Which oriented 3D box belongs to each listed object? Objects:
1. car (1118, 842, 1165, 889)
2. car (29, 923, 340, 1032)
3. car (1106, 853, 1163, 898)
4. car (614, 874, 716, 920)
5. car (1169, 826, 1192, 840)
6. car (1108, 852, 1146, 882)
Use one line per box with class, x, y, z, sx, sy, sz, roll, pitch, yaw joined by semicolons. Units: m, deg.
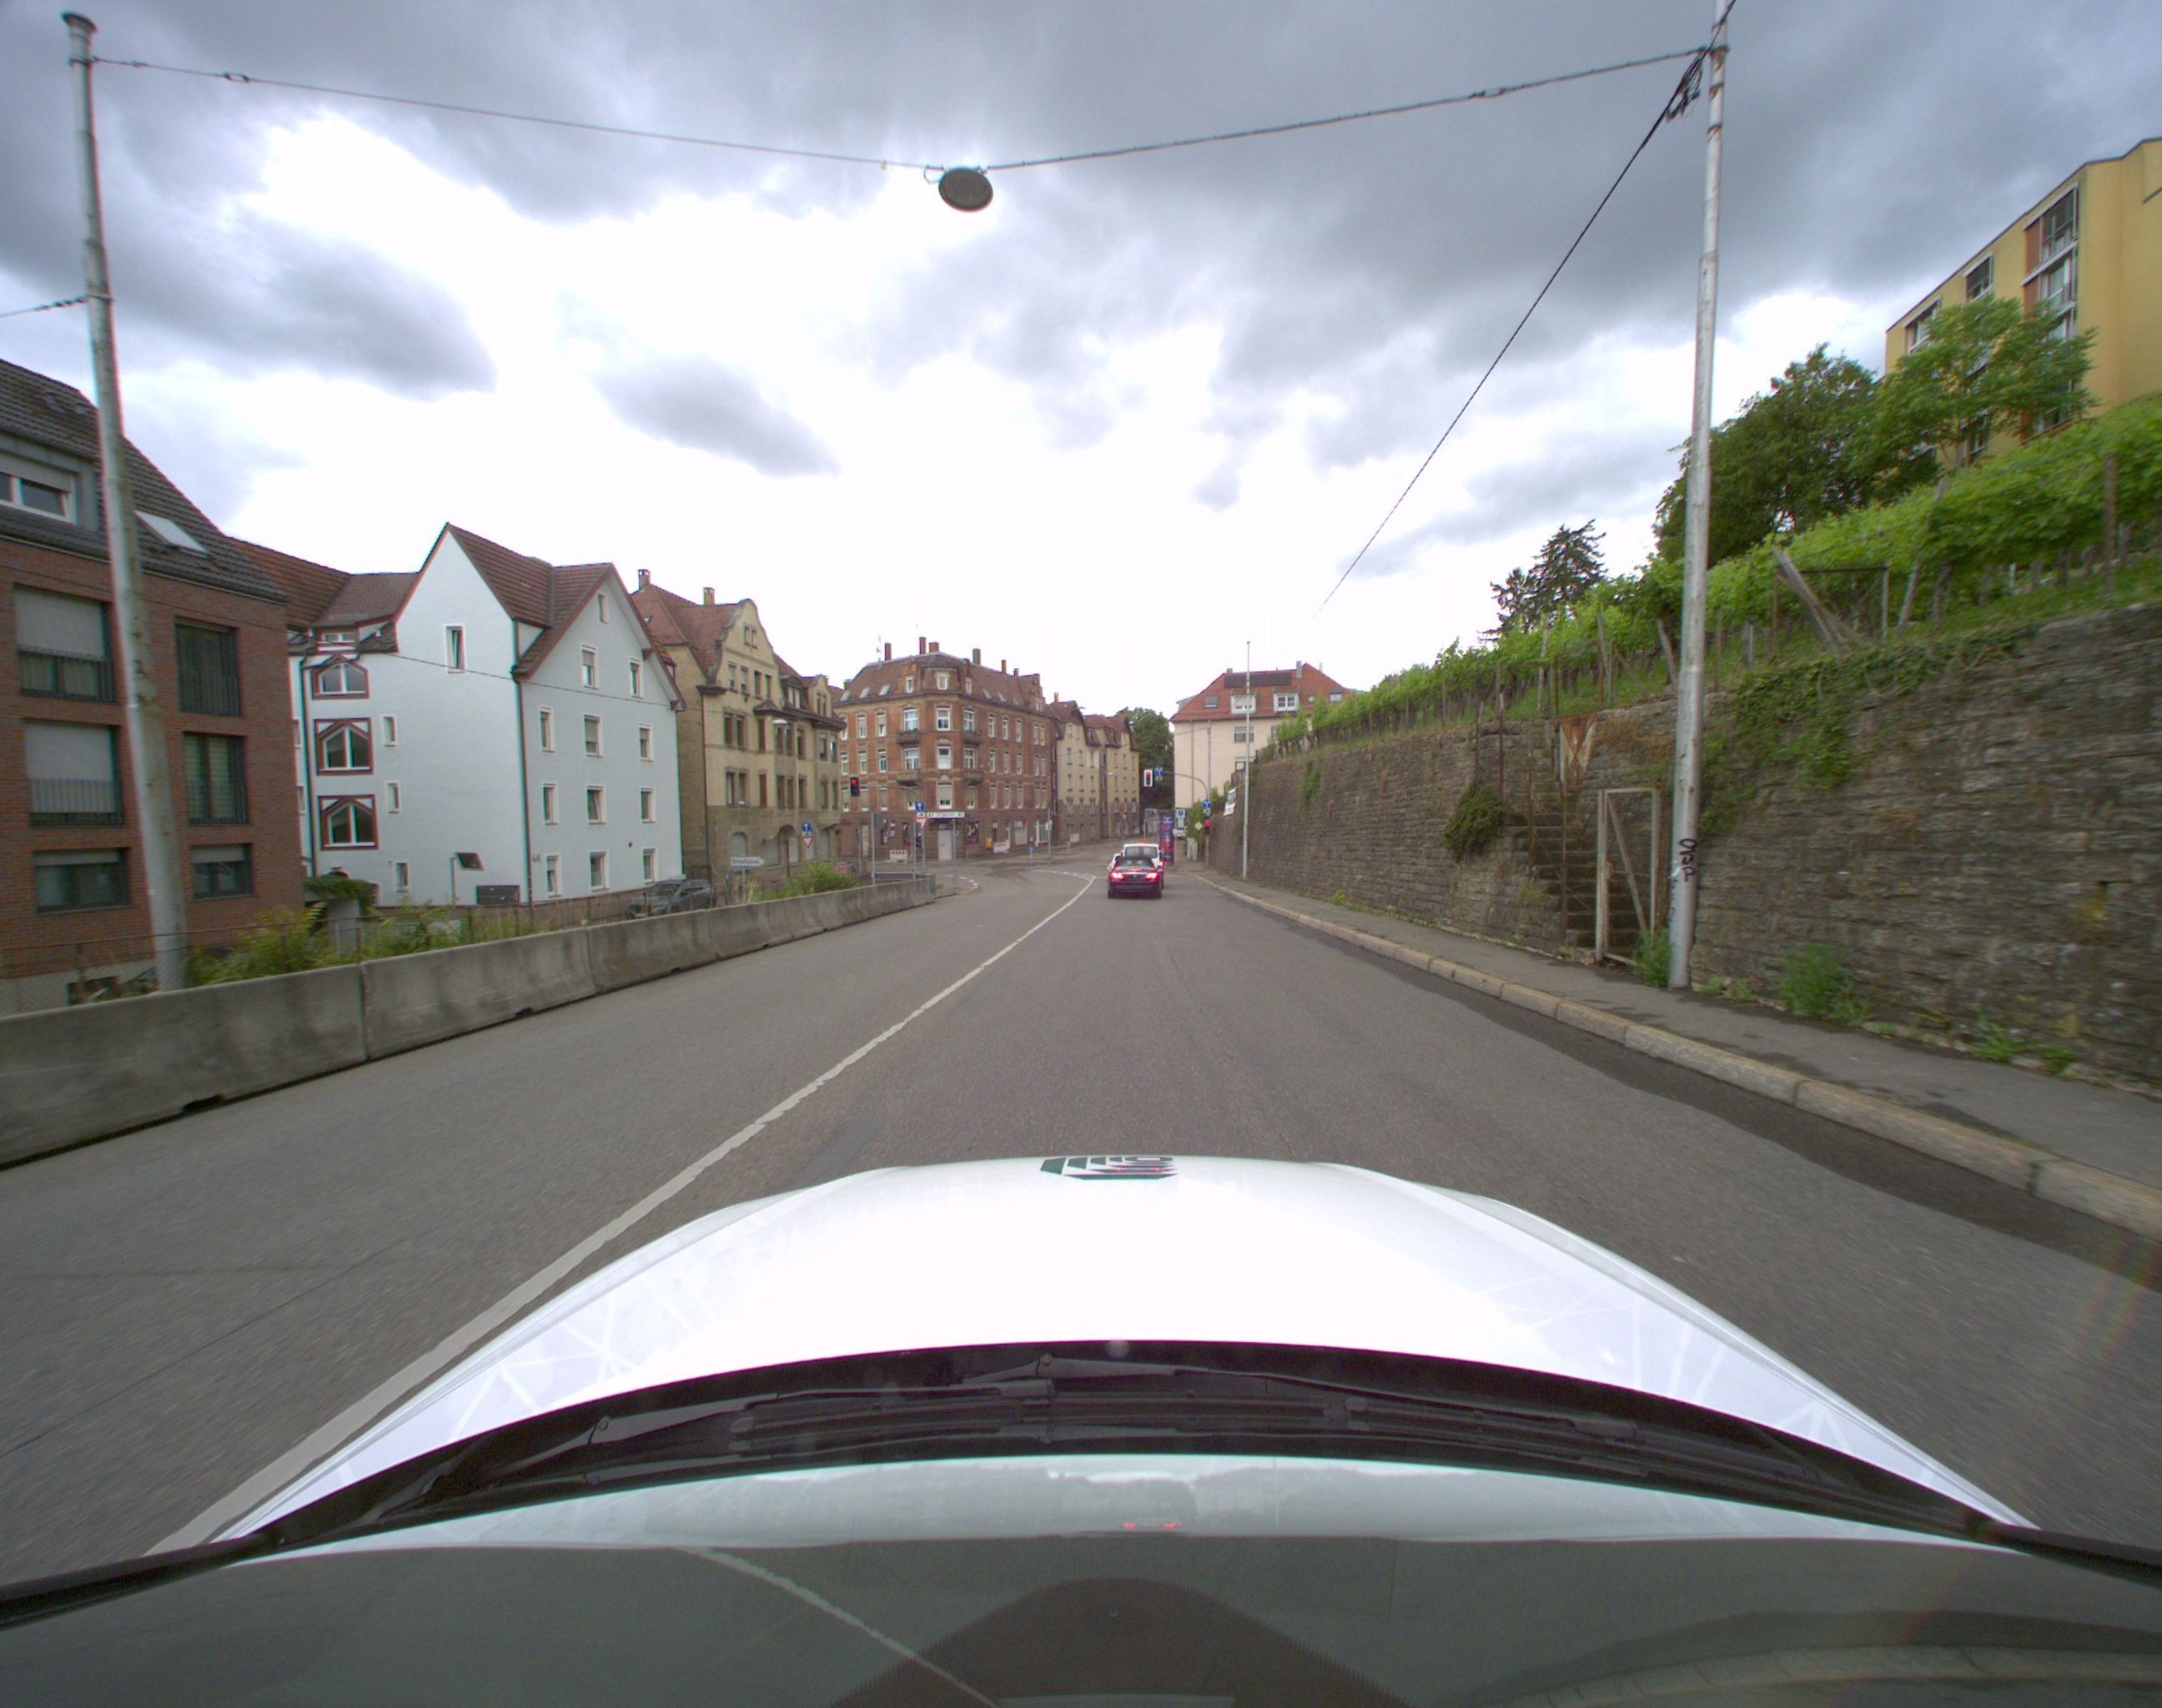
car;2.536;0.444;34.891;1.901;1.884;4.003;0;0;3
car;-19.089;2.554;17.696;1.785;1.608;4.222;-3;1;6
car;1.822;0.696;28.125;1.809;1.430;4.003;0;0;3
car;-17.144;1.718;33.789;1.785;1.510;4.008;-2;2;6
car;12.795;-2.691;104.553;1.824;1.702;4.024;0;2;25
car;2.360;0.627;41.859;1.834;1.441;4.003;0;0;3
